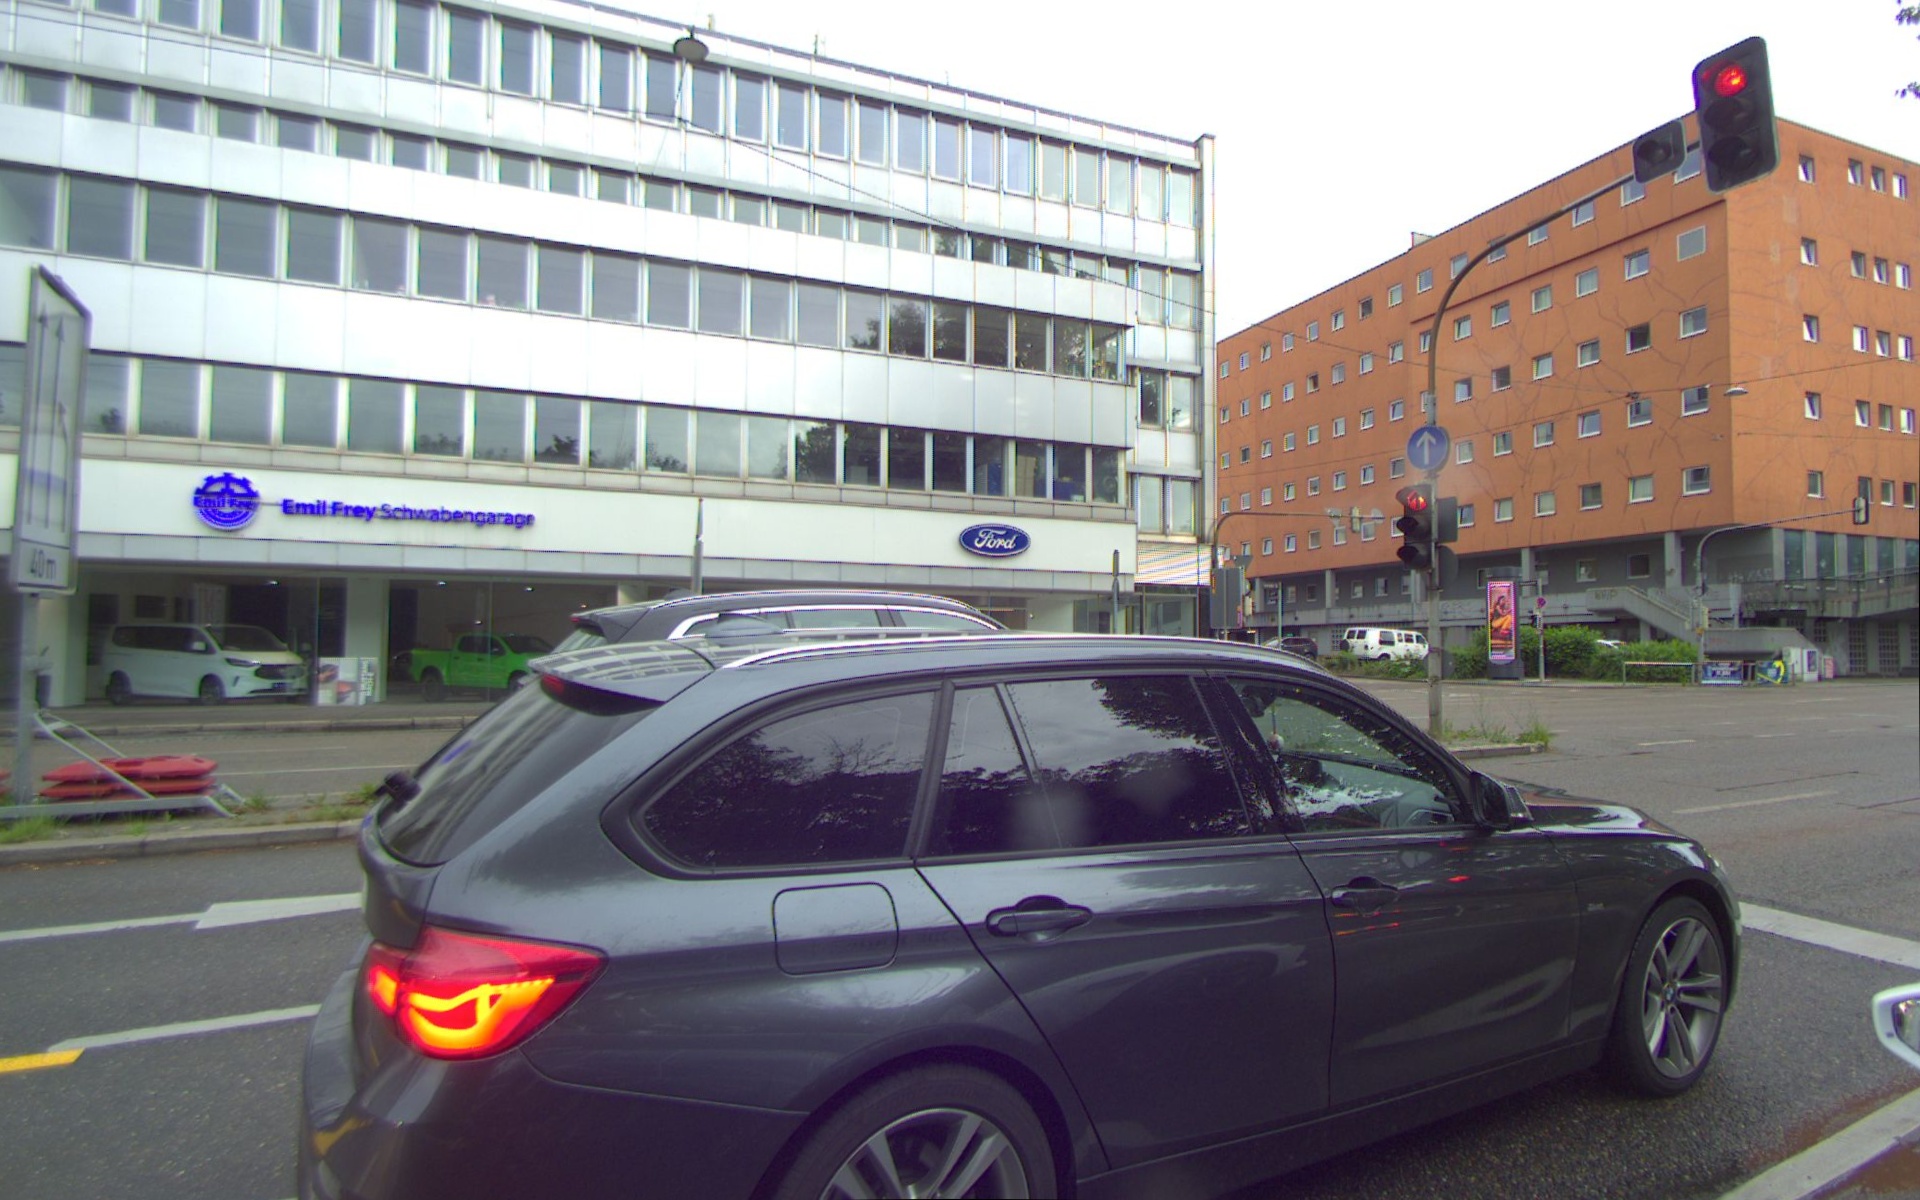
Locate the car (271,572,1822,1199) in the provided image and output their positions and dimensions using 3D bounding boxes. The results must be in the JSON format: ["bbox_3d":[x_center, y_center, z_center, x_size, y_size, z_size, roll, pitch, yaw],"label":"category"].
[{"bbox_3d":[0.620,0.793,3.156,4.424,1.477,1.769,2,-3,-30],"label":"car"}]

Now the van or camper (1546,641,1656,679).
[{"bbox_3d":[29.895,2.761,46.997,1.887,1.648,3.978,1,-2,-23],"label":"van or camper"}]

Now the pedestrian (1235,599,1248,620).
[{"bbox_3d":[24.591,0.839,87.664,0.714,1.864,0.761,2,0,-21],"label":"pedestrian"}]

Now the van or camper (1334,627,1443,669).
[{"bbox_3d":[22.341,2.517,52.381,5.376,2.004,2.121,2,0,-23],"label":"van or camper"}]

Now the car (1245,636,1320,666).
[{"bbox_3d":[18.974,2.993,59.024,4.027,1.633,1.706,2,0,-23],"label":"car"}]

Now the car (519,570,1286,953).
[{"bbox_3d":[-0.269,0.762,6.230,4.389,1.678,1.802,2,0,-28],"label":"car"}]
